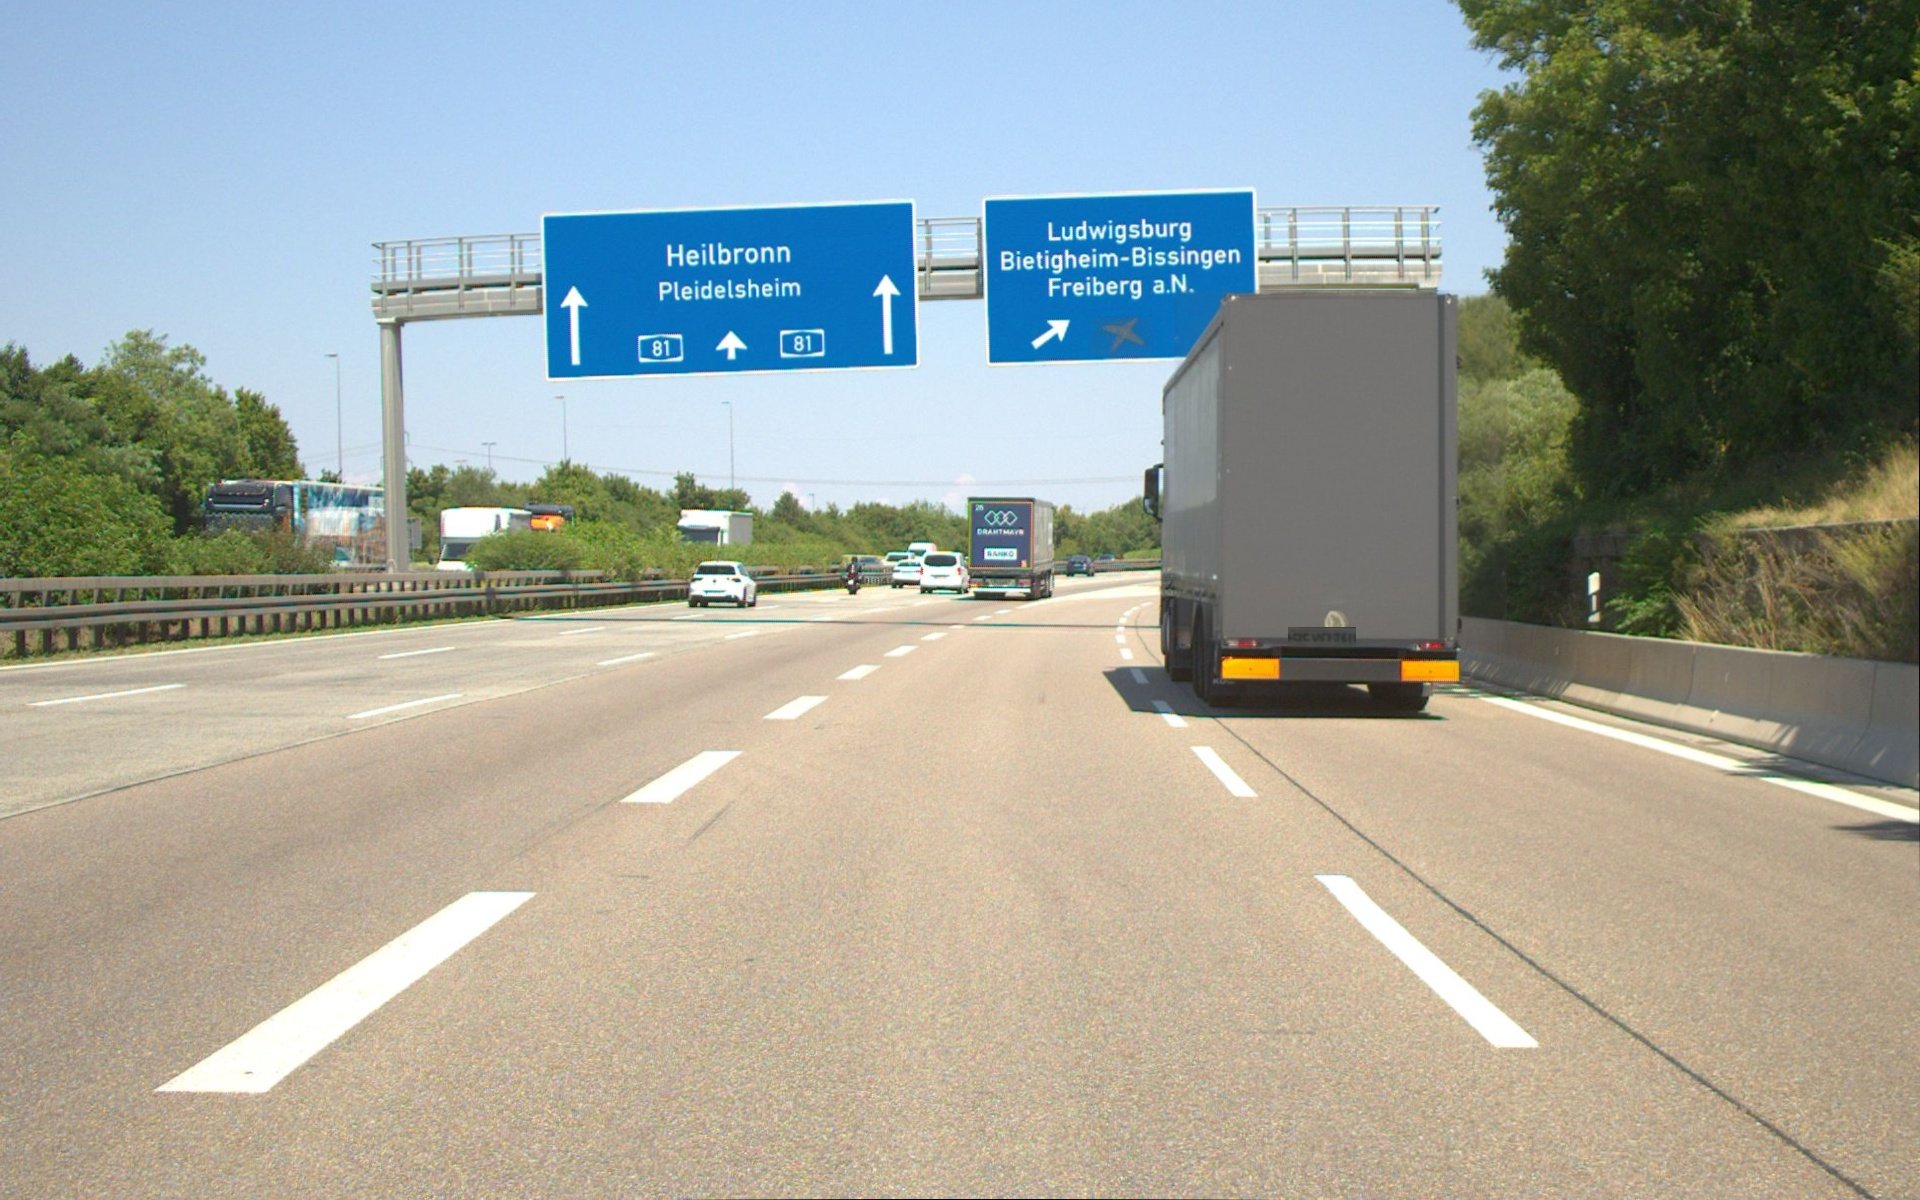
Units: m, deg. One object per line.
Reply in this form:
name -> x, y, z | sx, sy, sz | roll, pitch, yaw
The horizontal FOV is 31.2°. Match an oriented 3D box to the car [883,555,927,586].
car -> -2.779, -1.496, 174.678 | 1.877, 1.436, 5.125 | 0, -1, 3

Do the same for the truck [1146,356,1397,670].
truck -> 4.195, -1.203, 47.787 | 2.928, 4.001, 7.583 | 0, 1, 1

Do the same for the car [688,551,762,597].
car -> -7.397, -0.811, 108.591 | 1.782, 1.435, 4.668 | 0, 0, 3

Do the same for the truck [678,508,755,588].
truck -> -13.096, -2.783, 185.619 | 2.753, 4.193, 10.402 | 1, 1, 4

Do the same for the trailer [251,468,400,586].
trailer -> -22.183, -2.509, 121.070 | 1.994, 3.909, 14.001 | 1, 1, 3

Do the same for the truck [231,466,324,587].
truck -> -22.525, -2.404, 113.596 | 1.994, 3.883, 4.341 | 1, 1, 3

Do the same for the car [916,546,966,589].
car -> -0.831, -1.444, 154.234 | 1.931, 1.845, 4.692 | -1, 0, 3

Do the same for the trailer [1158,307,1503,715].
trailer -> 4.006, -1.029, 39.922 | 2.928, 4.001, 12.039 | 0, 1, 1

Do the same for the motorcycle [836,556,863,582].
motorcycle -> -4.647, -1.294, 144.383 | 0.913, 1.085, 2.849 | 0, 1, 3

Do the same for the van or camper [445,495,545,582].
van or camper -> -17.744, -2.327, 131.608 | 2.474, 3.209, 7.822 | 1, 1, 2

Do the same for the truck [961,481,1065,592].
truck -> 2.279, -2.532, 140.329 | 3.747, 4.256, 14.494 | 1, 1, 3

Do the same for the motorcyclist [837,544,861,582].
motorcyclist -> -4.647, -1.553, 144.403 | 0.893, 1.591, 1.299 | 0, 1, 3
